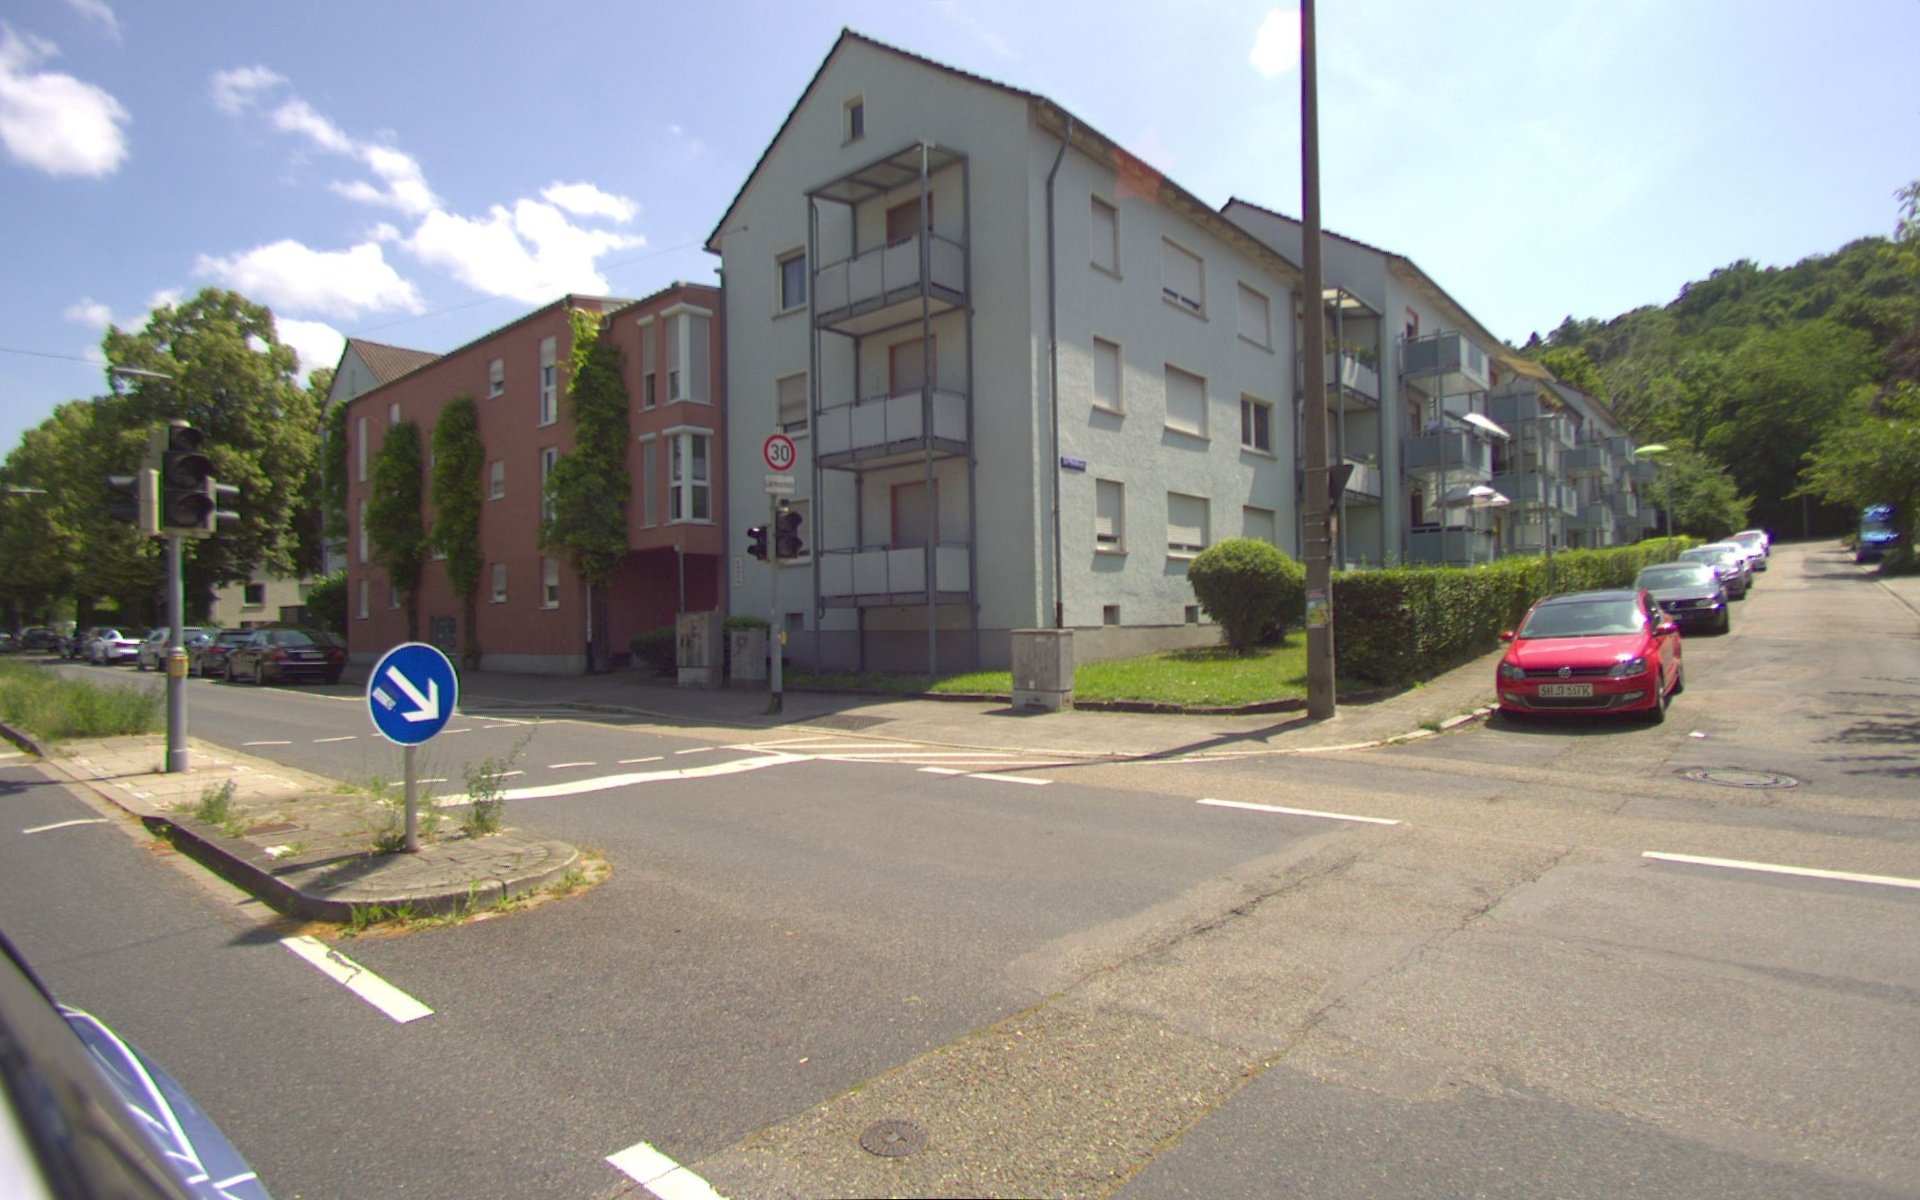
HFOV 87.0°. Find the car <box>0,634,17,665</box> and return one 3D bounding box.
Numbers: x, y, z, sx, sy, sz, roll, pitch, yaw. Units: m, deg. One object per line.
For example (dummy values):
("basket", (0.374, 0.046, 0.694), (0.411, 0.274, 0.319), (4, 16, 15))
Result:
("car", (-49.402, 2.505, 51.396), (3.997, 1.519, 1.730), (-2, -1, 40))

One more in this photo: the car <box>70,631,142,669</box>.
("car", (-37.185, 2.130, 44.029), (3.997, 1.519, 1.730), (-2, -1, 40))

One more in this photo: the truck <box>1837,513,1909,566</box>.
("truck", (39.708, -2.656, 44.106), (2.105, 2.050, 5.371), (-2, 2, 40))

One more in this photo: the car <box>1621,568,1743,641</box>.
("car", (15.083, 0.060, 21.074), (1.731, 1.160, 3.742), (-6, -1, 40))

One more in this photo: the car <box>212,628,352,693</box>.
("car", (-17.920, 1.550, 26.689), (4.564, 1.551, 1.867), (-2, -2, 40))

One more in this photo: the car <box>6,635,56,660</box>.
("car", (-54.359, 2.776, 59.204), (3.605, 1.343, 1.735), (-2, 0, 40))

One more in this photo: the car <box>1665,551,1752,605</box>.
("car", (21.484, -0.660, 29.009), (1.731, 1.239, 3.742), (-6, -1, 40))

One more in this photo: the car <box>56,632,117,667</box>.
("car", (-41.012, 2.286, 47.496), (3.997, 1.519, 1.552), (-2, -1, 40))

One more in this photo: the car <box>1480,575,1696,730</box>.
("car", (8.020, 0.562, 12.756), (1.731, 1.462, 3.948), (-4, 1, 40))

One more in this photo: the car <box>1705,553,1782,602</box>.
("car", (24.996, -0.732, 32.240), (1.731, 1.239, 3.742), (-6, -1, 40))

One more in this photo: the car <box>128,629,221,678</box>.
("car", (-27.205, 1.816, 35.026), (3.997, 1.519, 1.730), (-2, -1, 40))

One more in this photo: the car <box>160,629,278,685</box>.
("car", (-22.672, 1.688, 30.912), (4.564, 1.551, 1.867), (-2, -2, 40))

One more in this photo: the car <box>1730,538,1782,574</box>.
("car", (33.487, -1.870, 42.550), (1.558, 1.239, 3.742), (-6, -1, 40))

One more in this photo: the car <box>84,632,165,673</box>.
("car", (-32.572, 1.996, 39.404), (3.997, 1.453, 1.730), (-2, -1, 40))
